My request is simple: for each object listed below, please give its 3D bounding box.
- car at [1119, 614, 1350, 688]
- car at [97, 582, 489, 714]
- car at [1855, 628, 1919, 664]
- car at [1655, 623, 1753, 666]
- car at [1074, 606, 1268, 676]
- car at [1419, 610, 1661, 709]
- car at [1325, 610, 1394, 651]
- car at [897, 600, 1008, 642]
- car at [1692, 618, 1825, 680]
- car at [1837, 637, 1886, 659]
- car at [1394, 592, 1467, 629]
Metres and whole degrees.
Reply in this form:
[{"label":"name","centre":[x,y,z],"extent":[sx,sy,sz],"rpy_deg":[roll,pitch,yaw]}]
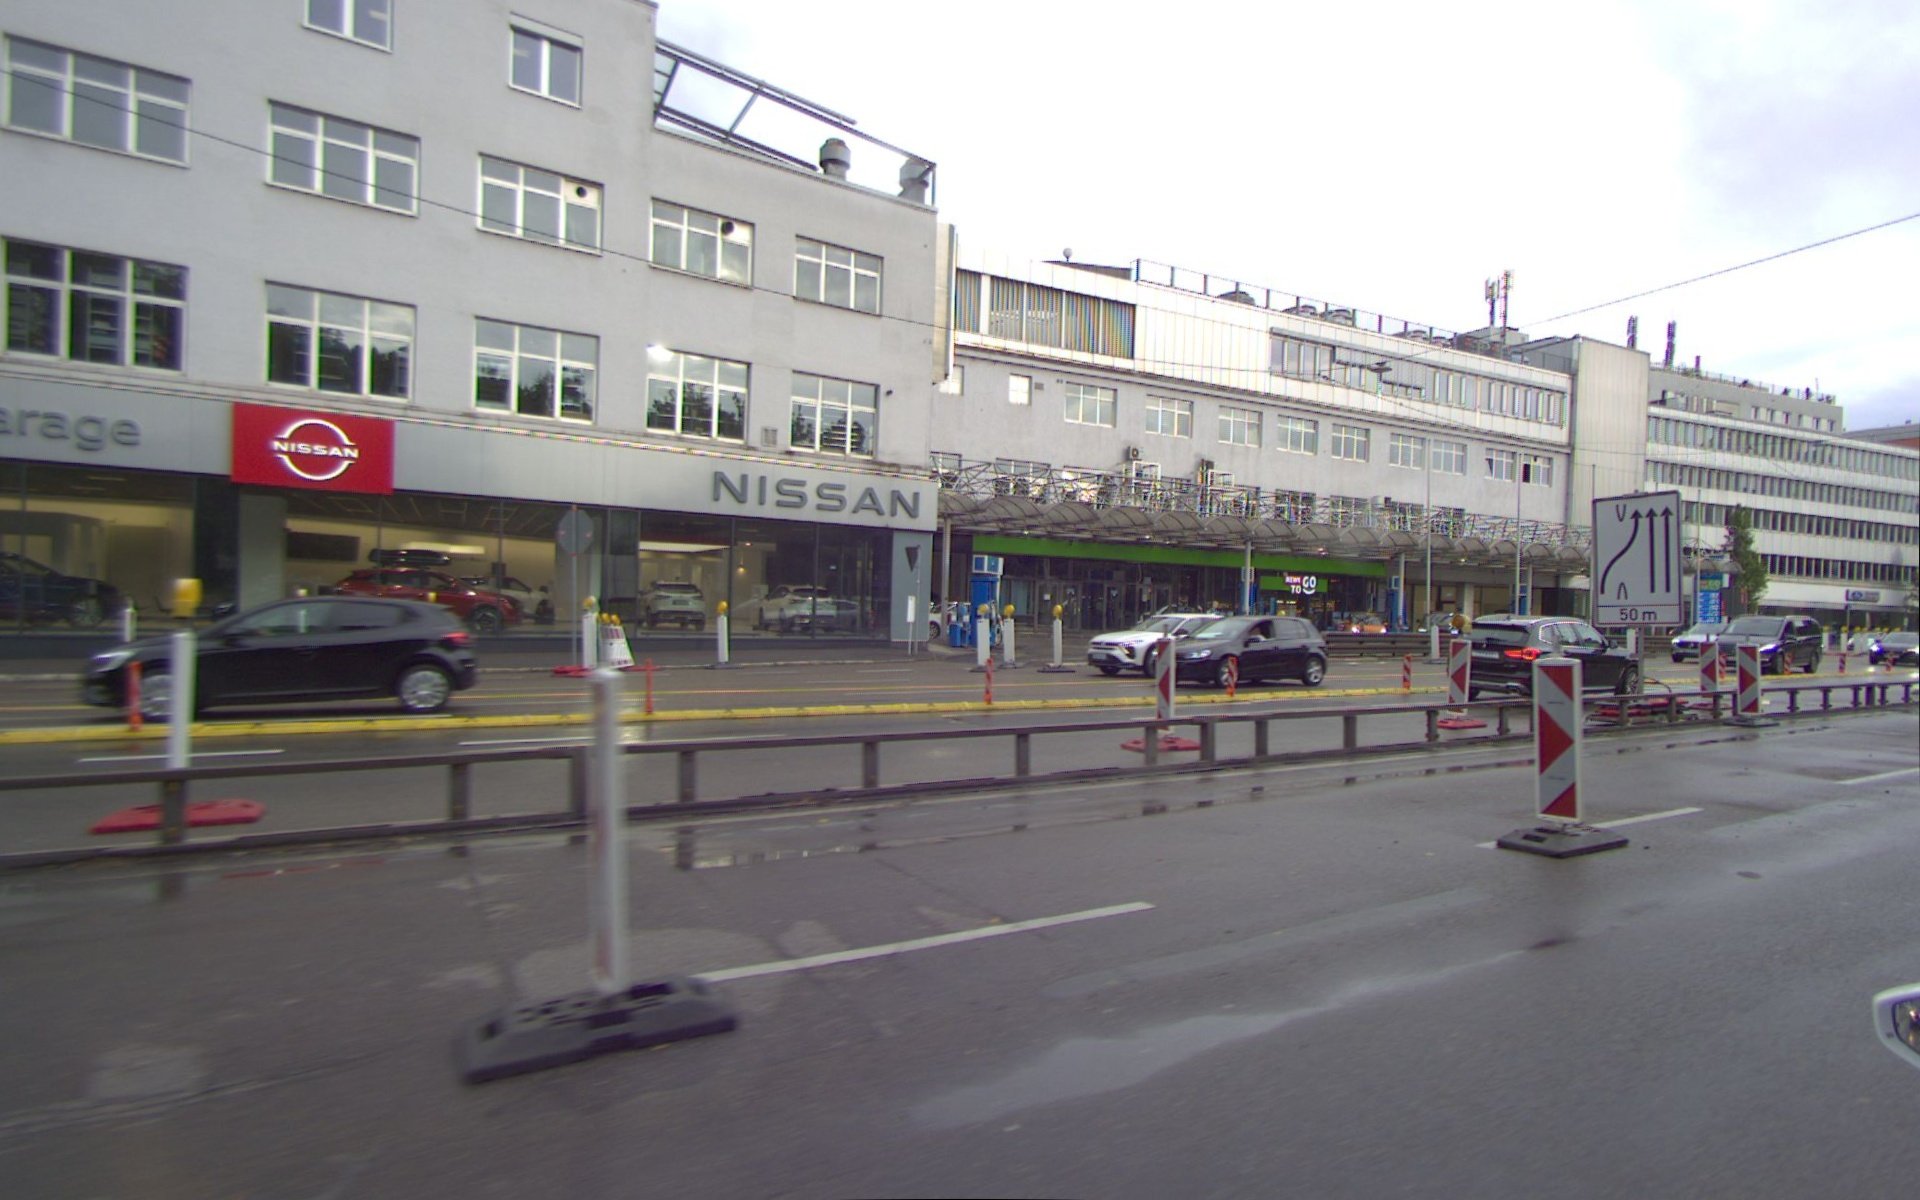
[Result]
[{"label":"car","centre":[5.728,1.039,20.775],"extent":[4.756,1.369,1.789],"rpy_deg":[2,-1,-30]},{"label":"car","centre":[-7.989,0.571,12.432],"extent":[3.761,1.405,1.789],"rpy_deg":[2,-1,-30]},{"label":"car","centre":[41.639,2.033,44.481],"extent":[4.658,1.485,1.840],"rpy_deg":[2,-1,-33]},{"label":"car","centre":[29.829,1.786,40.239],"extent":[4.218,1.606,1.737],"rpy_deg":[2,-1,-33]},{"label":"car","centre":[5.085,0.977,24.043],"extent":[4.467,1.528,1.776],"rpy_deg":[2,-1,-29]},{"label":"car","centre":[11.384,1.100,19.671],"extent":[4.613,1.619,1.938],"rpy_deg":[1,3,-29]},{"label":"car","centre":[18.619,1.429,46.989],"extent":[1.927,1.794,4.449],"rpy_deg":[1,-1,7]},{"label":"car","centre":[-0.279,0.803,38.875],"extent":[3.923,1.502,1.803],"rpy_deg":[2,-1,-32]},{"label":"car","centre":[27.034,1.651,33.957],"extent":[5.175,1.962,1.982],"rpy_deg":[2,-1,-33]},{"label":"car","centre":[69.079,3.664,76.936],"extent":[3.709,1.555,1.646],"rpy_deg":[2,-1,-28]},{"label":"car","centre":[23.041,0.536,49.364],"extent":[1.973,1.701,4.483],"rpy_deg":[1,-1,7]}]
